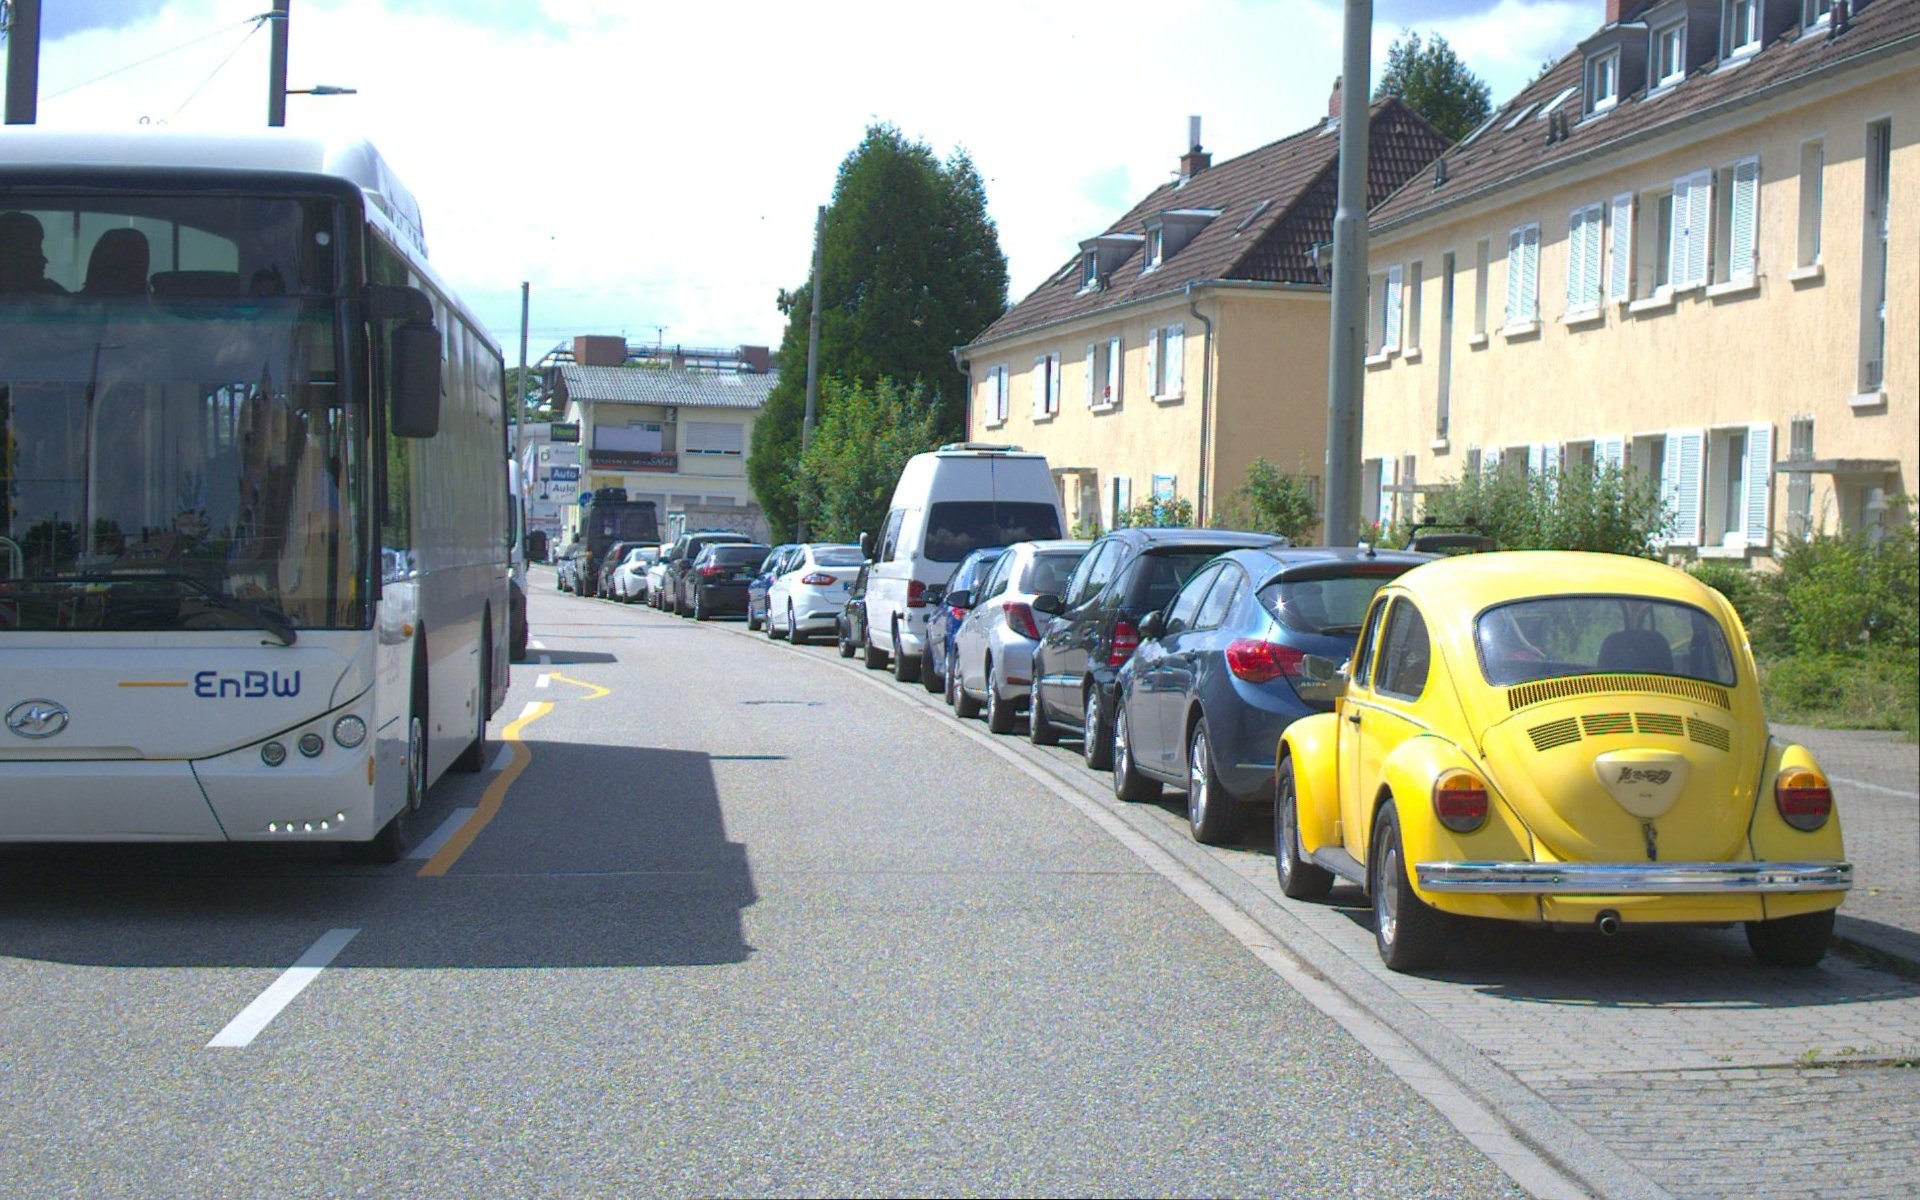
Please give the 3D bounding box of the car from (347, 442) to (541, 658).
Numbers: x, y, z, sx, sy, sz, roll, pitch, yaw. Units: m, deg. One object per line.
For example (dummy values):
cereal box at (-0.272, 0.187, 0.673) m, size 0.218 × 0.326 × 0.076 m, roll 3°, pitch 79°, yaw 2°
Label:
car at (-6.356, -0.636, 42.854) m, size 2.102 × 2.435 × 5.572 m, roll 2°, pitch 1°, yaw -6°

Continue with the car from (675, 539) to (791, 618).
car at (-4.310, -0.434, 64.770) m, size 1.763 × 1.412 × 4.001 m, roll 0°, pitch 1°, yaw -10°

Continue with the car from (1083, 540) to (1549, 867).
car at (1.765, 0.459, 18.369) m, size 1.636 × 1.477 × 4.125 m, roll 2°, pitch 1°, yaw -5°

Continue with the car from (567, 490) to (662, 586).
car at (-9.266, -1.668, 91.891) m, size 1.959 × 2.470 × 6.062 m, roll 0°, pitch 1°, yaw -11°

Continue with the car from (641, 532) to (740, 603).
car at (-5.893, -0.729, 74.713) m, size 1.763 × 1.471 × 4.001 m, roll 0°, pitch 1°, yaw -10°

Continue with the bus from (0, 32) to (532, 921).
bus at (-3.971, -0.600, 19.287) m, size 2.636 × 3.401 × 12.251 m, roll 1°, pitch 1°, yaw -5°

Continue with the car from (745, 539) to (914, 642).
car at (-1.971, -0.158, 50.627) m, size 1.798 × 1.453 × 4.767 m, roll 0°, pitch 1°, yaw -11°

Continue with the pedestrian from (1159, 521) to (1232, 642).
pedestrian at (3.286, -0.261, 47.983) m, size 0.853 × 1.646 × 0.637 m, roll 2°, pitch 1°, yaw -5°

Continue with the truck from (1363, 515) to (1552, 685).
truck at (5.169, -0.013, 35.940) m, size 1.346 × 1.683 × 2.442 m, roll 2°, pitch 1°, yaw -6°

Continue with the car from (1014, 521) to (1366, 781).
car at (1.500, 0.285, 23.832) m, size 1.636 × 1.597 × 3.932 m, roll 2°, pitch 1°, yaw -7°

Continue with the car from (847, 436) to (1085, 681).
car at (-0.024, -0.475, 37.933) m, size 1.929 × 2.472 × 5.519 m, roll 1°, pitch 1°, yaw -7°

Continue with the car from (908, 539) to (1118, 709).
car at (0.447, 0.185, 32.597) m, size 1.536 × 1.440 × 3.738 m, roll 2°, pitch 1°, yaw -5°

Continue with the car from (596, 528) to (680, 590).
car at (-8.050, -1.037, 85.746) m, size 1.763 × 1.497 × 4.001 m, roll 0°, pitch 1°, yaw -10°

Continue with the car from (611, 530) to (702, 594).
car at (-7.158, -0.907, 80.818) m, size 1.763 × 1.435 × 4.001 m, roll 0°, pitch 1°, yaw -10°

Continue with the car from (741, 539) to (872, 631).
car at (-2.537, -0.264, 56.063) m, size 1.620 × 1.412 × 4.001 m, roll 0°, pitch 1°, yaw -10°

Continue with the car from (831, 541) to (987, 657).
car at (-0.670, -0.028, 42.791) m, size 1.340 × 1.336 × 3.289 m, roll 2°, pitch 0°, yaw -11°

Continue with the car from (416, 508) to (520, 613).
car at (-8.885, -0.748, 62.238) m, size 1.734 × 1.767 × 4.309 m, roll 2°, pitch 1°, yaw -7°

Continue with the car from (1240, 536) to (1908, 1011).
car at (2.170, 0.529, 13.180) m, size 1.636 × 1.477 × 3.932 m, roll -1°, pitch 2°, yaw -3°

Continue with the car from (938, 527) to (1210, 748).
car at (0.851, 0.243, 27.898) m, size 1.636 × 1.597 × 4.030 m, roll 2°, pitch 1°, yaw -5°
